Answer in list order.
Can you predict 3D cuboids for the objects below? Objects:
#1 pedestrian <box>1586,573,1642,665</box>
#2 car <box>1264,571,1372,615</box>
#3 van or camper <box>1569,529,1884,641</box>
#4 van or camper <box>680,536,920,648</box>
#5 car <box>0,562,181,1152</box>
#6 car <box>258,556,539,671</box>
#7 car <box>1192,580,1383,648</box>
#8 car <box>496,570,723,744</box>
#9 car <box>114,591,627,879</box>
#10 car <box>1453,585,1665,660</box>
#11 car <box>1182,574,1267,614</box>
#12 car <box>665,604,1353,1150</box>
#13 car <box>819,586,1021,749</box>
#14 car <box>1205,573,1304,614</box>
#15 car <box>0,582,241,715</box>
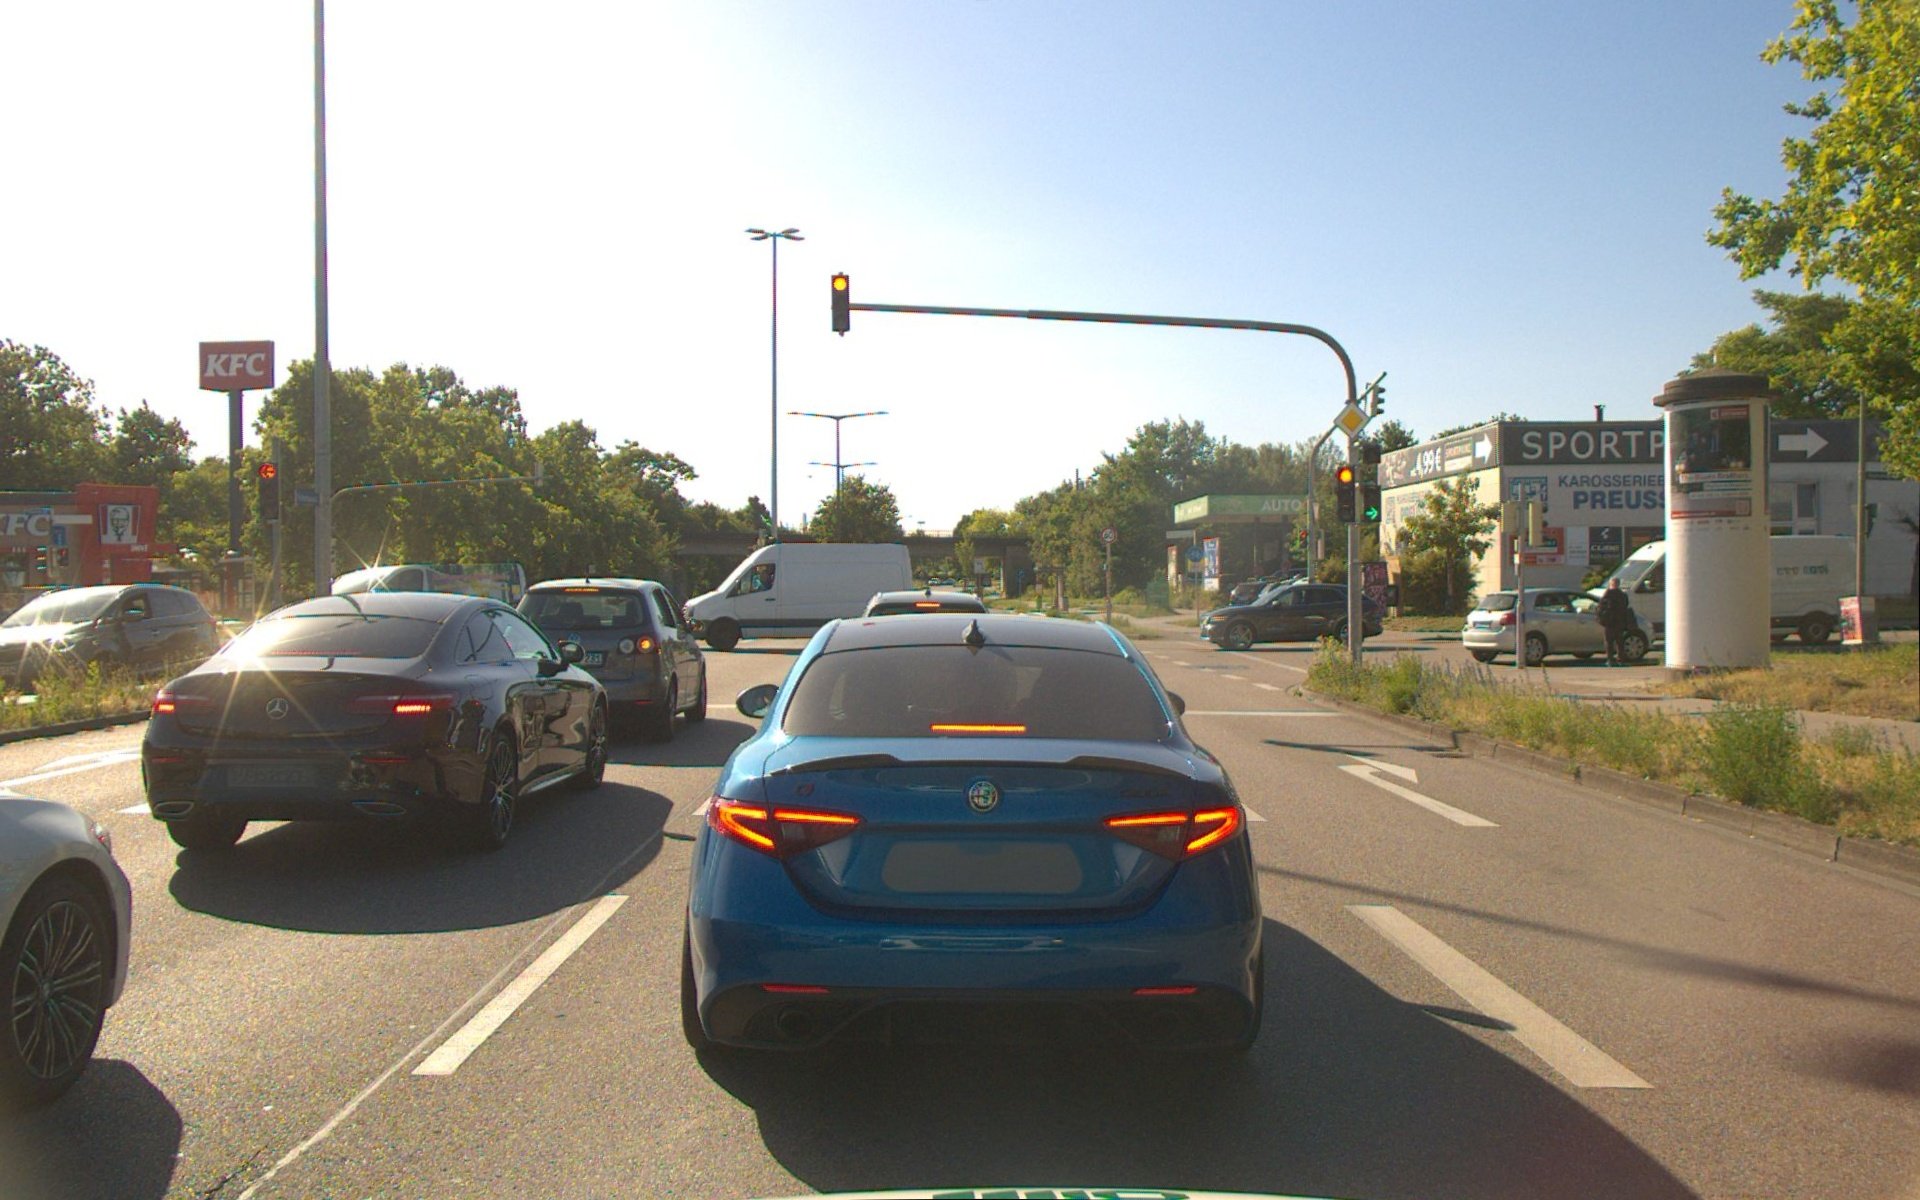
[{"bbox_3d":[12.600,0.353,31.891,0.805,1.752,0.854,0,0,6],"label":"pedestrian"},{"bbox_3d":[14.343,-0.286,66.318,3.923,1.736,1.687,0,0,-17],"label":"car"},{"bbox_3d":[18.349,-0.358,39.803,6.595,2.617,2.184,0,0,-2],"label":"van or camper"},{"bbox_3d":[-4.029,-0.206,41.493,5.833,2.697,1.994,0,0,-12],"label":"van or camper"},{"bbox_3d":[-3.351,0.680,3.091,1.732,1.535,4.460,0,0,-1],"label":"car"},{"bbox_3d":[-10.761,0.219,32.068,1.960,2.049,5.008,0,0,35],"label":"car"},{"bbox_3d":[8.369,0.341,42.497,4.506,1.682,1.999,0,0,-2],"label":"car"},{"bbox_3d":[-3.579,0.519,17.512,1.615,1.626,3.931,0,0,-1],"label":"car"},{"bbox_3d":[-3.416,0.666,10.564,1.732,1.439,4.460,0,0,-1],"label":"car"},{"bbox_3d":[12.517,0.446,34.599,3.912,1.503,1.733,0,0,-16],"label":"car"},{"bbox_3d":[11.876,-0.271,74.326,3.428,1.736,1.688,0,0,-16],"label":"car"},{"bbox_3d":[0.107,0.744,6.373,1.828,1.409,3.931,0,0,-1],"label":"car"},{"bbox_3d":[-0.394,0.605,17.050,1.828,1.475,3.931,0,0,-1],"label":"car"},{"bbox_3d":[12.671,-0.276,71.148,3.928,1.736,1.686,0,0,-20],"label":"car"},{"bbox_3d":[-12.314,0.614,23.616,1.839,1.719,4.439,0,0,5],"label":"car"}]
